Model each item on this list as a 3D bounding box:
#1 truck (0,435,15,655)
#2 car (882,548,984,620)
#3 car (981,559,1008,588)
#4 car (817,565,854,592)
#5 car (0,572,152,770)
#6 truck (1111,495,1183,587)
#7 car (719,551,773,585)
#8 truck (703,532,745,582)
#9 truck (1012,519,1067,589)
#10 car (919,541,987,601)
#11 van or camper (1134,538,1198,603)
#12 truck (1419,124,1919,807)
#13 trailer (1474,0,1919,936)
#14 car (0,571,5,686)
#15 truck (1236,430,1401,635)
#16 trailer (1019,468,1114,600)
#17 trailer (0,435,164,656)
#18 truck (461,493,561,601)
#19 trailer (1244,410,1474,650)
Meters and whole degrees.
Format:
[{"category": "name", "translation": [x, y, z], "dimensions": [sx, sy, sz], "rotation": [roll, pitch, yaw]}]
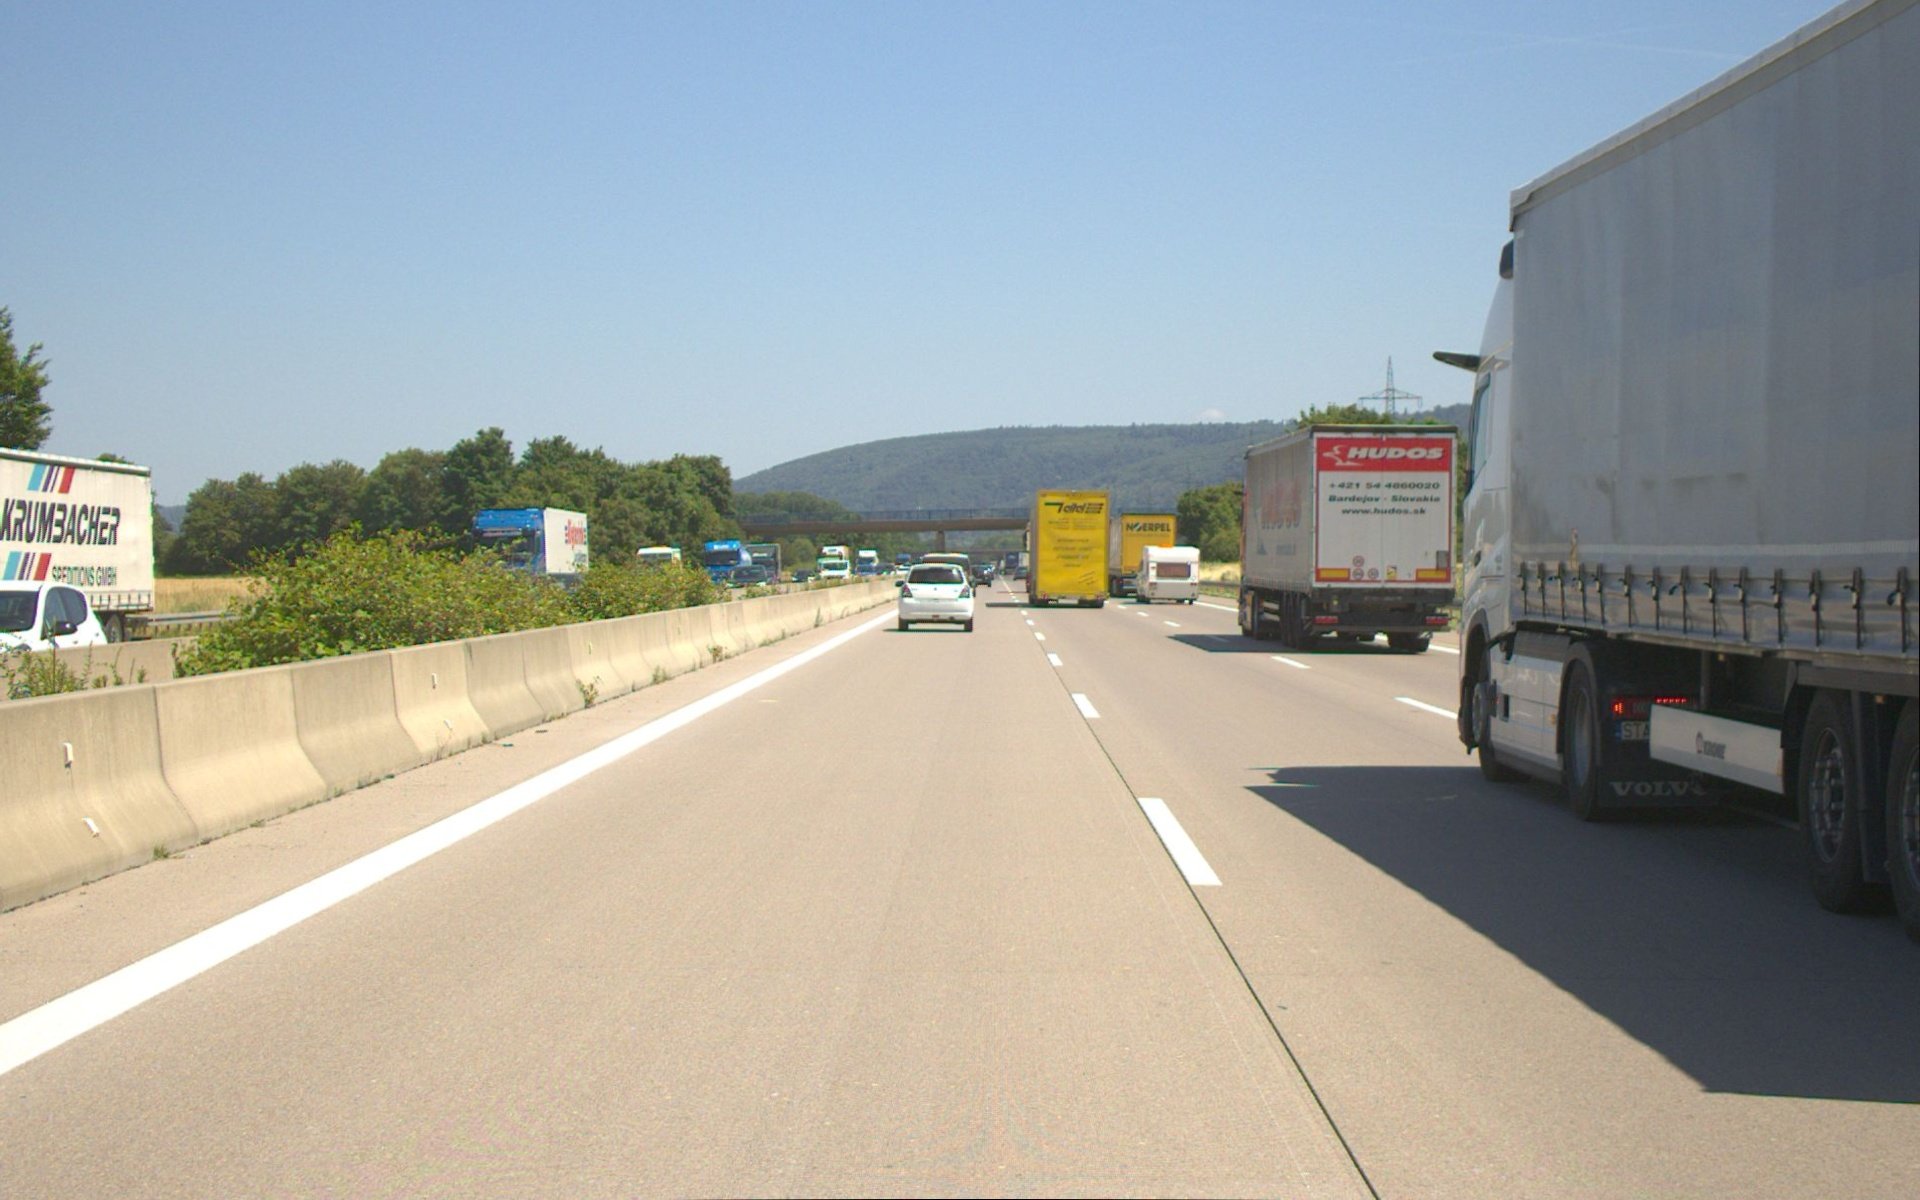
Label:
[{"category": "truck", "translation": [-18.057, -0.959, 58.266], "dimensions": [2.770, 3.826, 4.452], "rotation": [1, 1, 0]}, {"category": "car", "translation": [-0.588, -0.378, 77.792], "dimensions": [2.107, 1.530, 4.122], "rotation": [1, 1, 2]}, {"category": "car", "translation": [2.356, -1.831, 235.474], "dimensions": [1.784, 1.875, 4.000], "rotation": [1, 1, 1]}, {"category": "car", "translation": [-8.239, -1.446, 227.967], "dimensions": [2.138, 1.673, 5.645], "rotation": [-2, 1, 0]}, {"category": "car", "translation": [-9.420, 0.643, 34.146], "dimensions": [1.705, 1.797, 4.714], "rotation": [-1, 1, -1]}, {"category": "truck", "translation": [9.080, -2.865, 167.434], "dimensions": [2.999, 4.299, 9.684], "rotation": [1, 1, 1]}, {"category": "car", "translation": [-8.918, -1.346, 143.638], "dimensions": [1.898, 1.321, 5.069], "rotation": [1, 1, 0]}, {"category": "truck", "translation": [-16.121, -2.962, 235.389], "dimensions": [2.484, 3.298, 5.264], "rotation": [1, 1, 0]}, {"category": "truck", "translation": [4.364, -2.529, 189.584], "dimensions": [2.820, 3.748, 6.284], "rotation": [1, 1, 0]}, {"category": "car", "translation": [-0.227, -1.039, 121.229], "dimensions": [2.255, 2.007, 4.297], "rotation": [1, 1, 1]}, {"category": "van or camper", "translation": [8.244, -1.191, 138.282], "dimensions": [2.224, 2.522, 5.431], "rotation": [1, 1, 0]}, {"category": "truck", "translation": [5.046, -0.835, 23.365], "dimensions": [2.984, 4.048, 5.478], "rotation": [1, 1, -1]}, {"category": "trailer", "translation": [5.118, -0.775, 16.156], "dimensions": [3.018, 4.047, 14.208], "rotation": [1, 1, -1]}, {"category": "car", "translation": [-14.147, 0.429, 45.138], "dimensions": [1.993, 1.578, 4.370], "rotation": [-1, 1, 0]}, {"category": "truck", "translation": [7.502, -1.407, 72.661], "dimensions": [2.906, 4.086, 6.272], "rotation": [1, 1, 1]}, {"category": "trailer", "translation": [3.828, -2.399, 126.774], "dimensions": [3.216, 4.548, 13.457], "rotation": [1, 1, 1]}, {"category": "trailer", "translation": [-17.813, -1.036, 63.768], "dimensions": [2.770, 3.789, 13.829], "rotation": [1, 1, 0]}, {"category": "truck", "translation": [-16.617, -1.971, 127.572], "dimensions": [2.897, 3.850, 5.685], "rotation": [1, 1, 0]}, {"category": "trailer", "translation": [7.456, -1.315, 66.216], "dimensions": [2.874, 4.086, 13.513], "rotation": [1, 1, 0]}]
